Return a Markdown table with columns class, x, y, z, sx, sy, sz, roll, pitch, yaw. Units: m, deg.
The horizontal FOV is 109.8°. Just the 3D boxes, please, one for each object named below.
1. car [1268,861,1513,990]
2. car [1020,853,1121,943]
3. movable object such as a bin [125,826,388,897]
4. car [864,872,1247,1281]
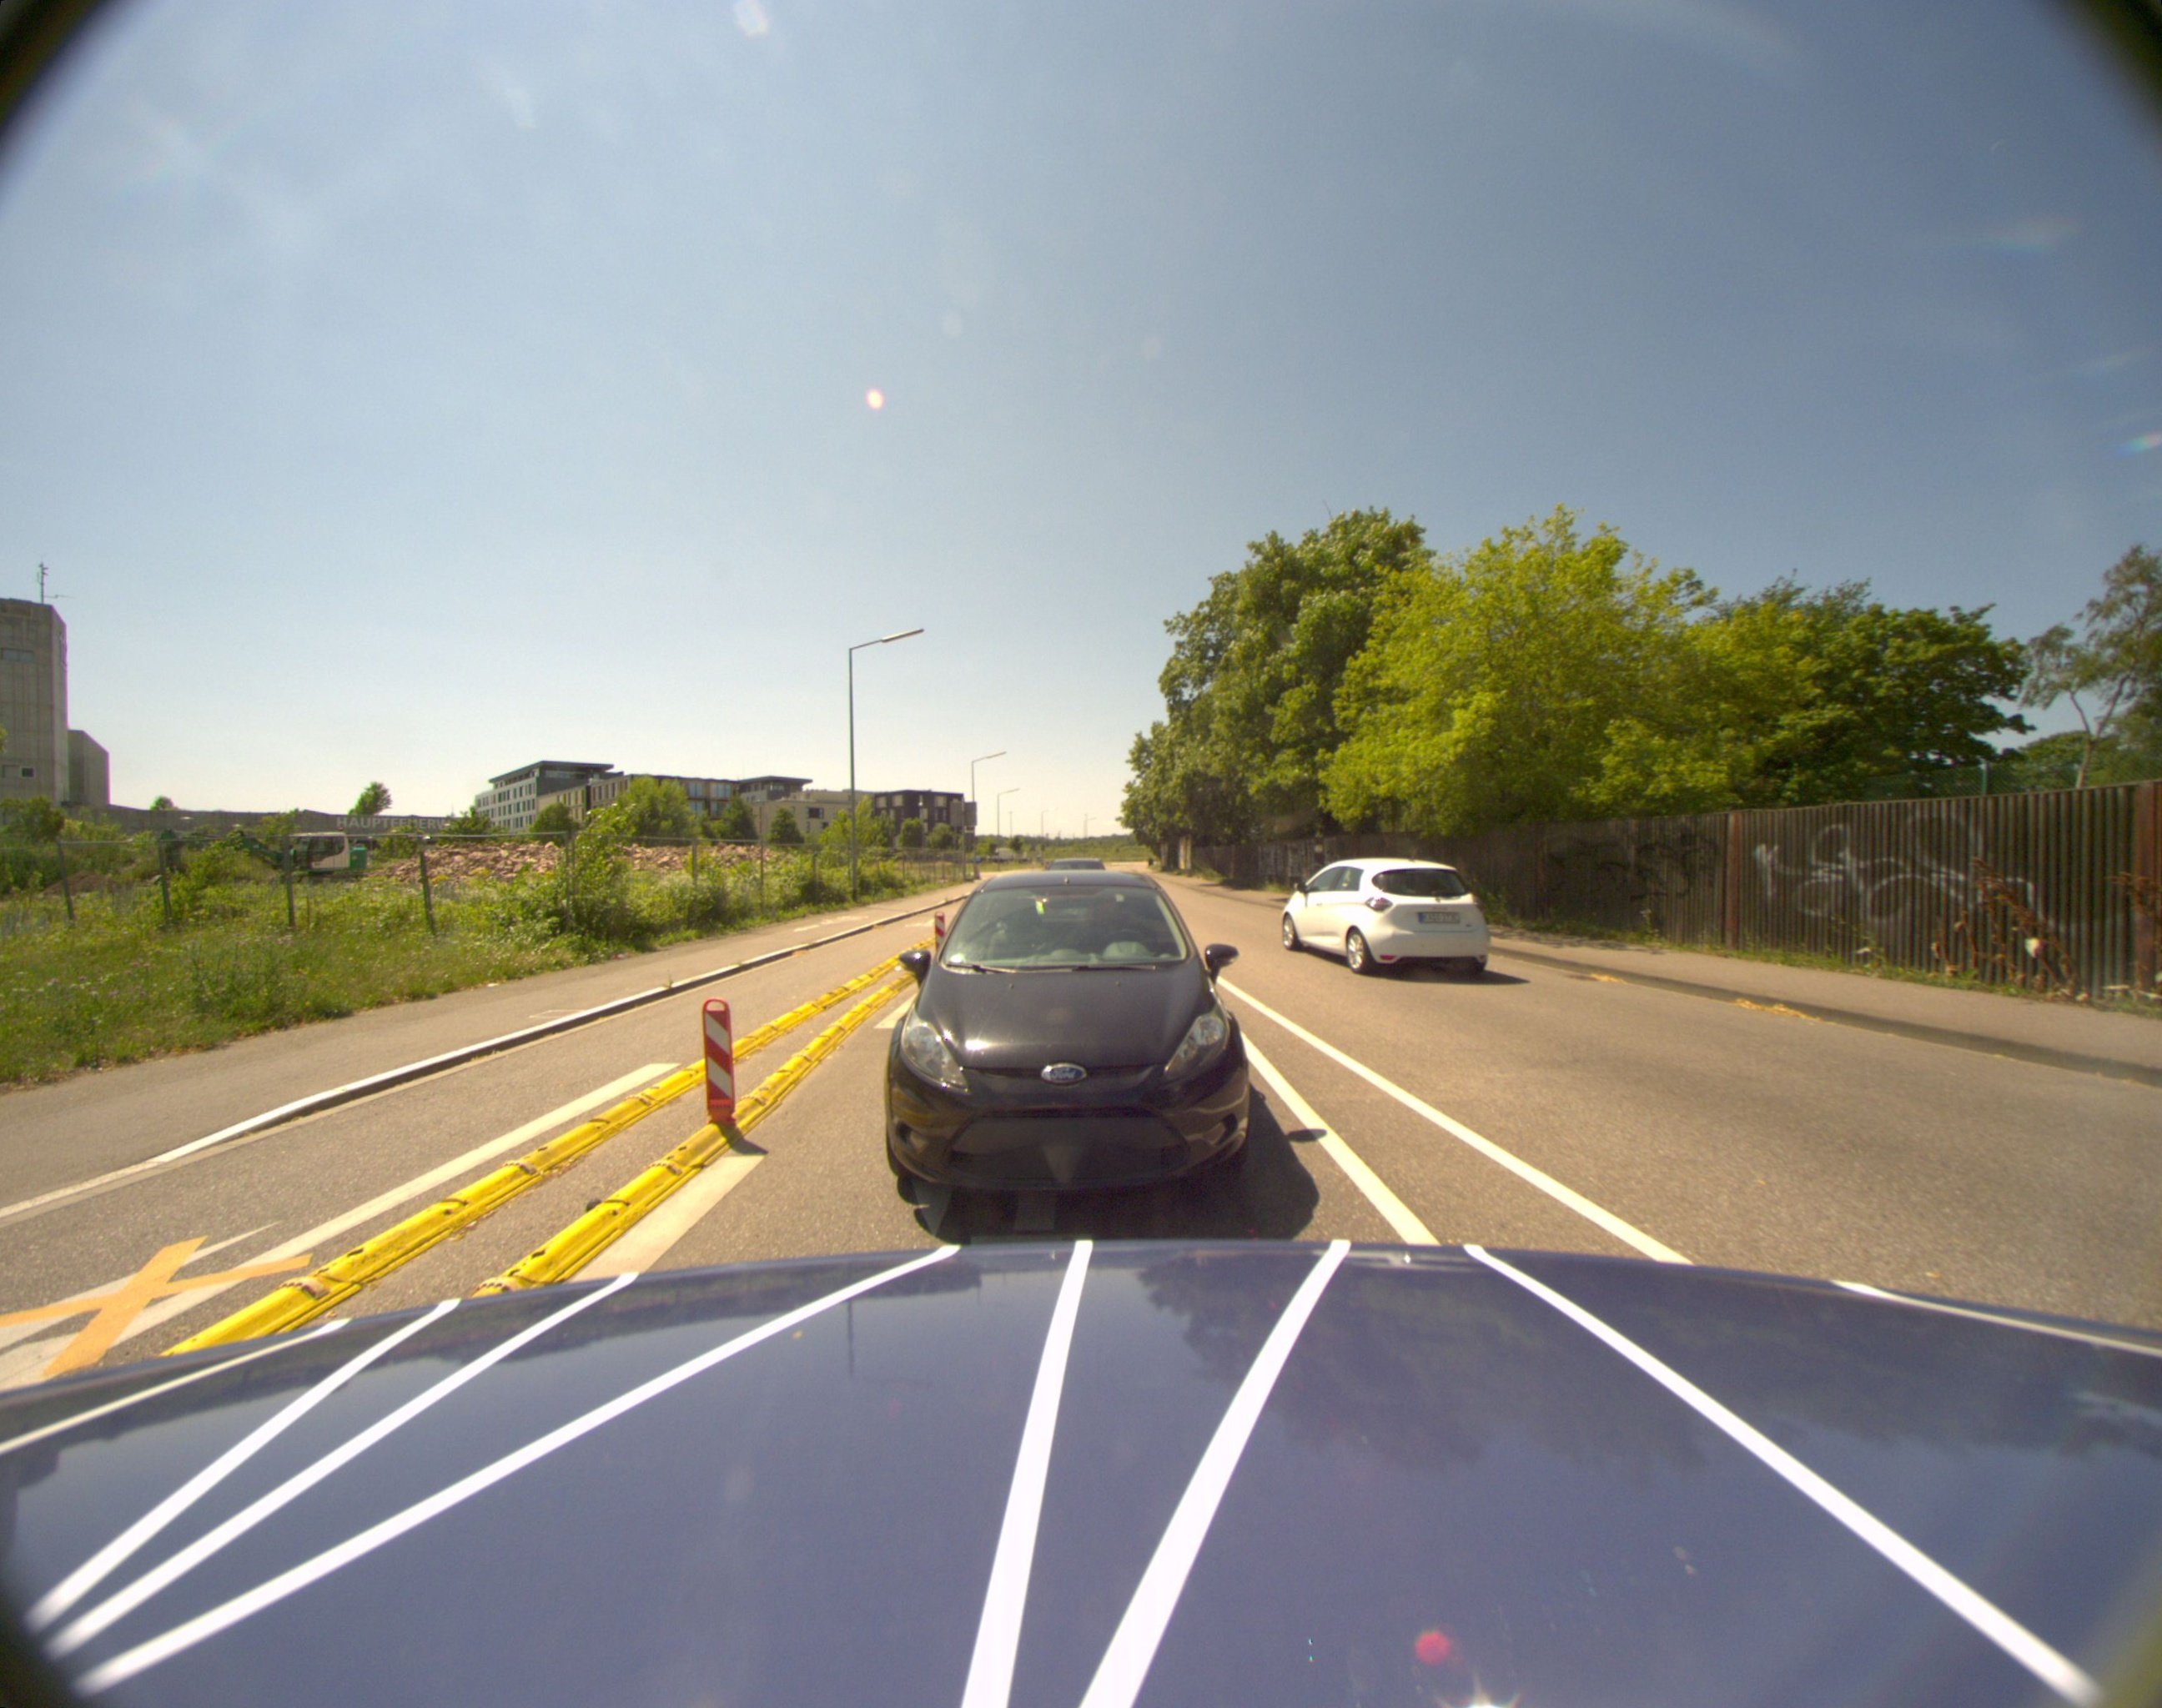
| class | x | y | z | sx | sy | sz | roll | pitch | yaw |
| --- | --- | --- | --- | --- | --- | --- | --- | --- | --- |
| car | 4.283 | 0.884 | 11.234 | 1.781 | 1.518 | 3.871 | -1 | 0 | -5 |
| car | -0.171 | 0.869 | 17.224 | 1.924 | 1.643 | 4.668 | -2 | 1 | 1 |
| movable object such as a bin | -38.371 | 0.257 | 35.894 | 3.231 | 2.899 | 7.702 | -2 | 1 | 15 |
| car | -0.078 | 0.974 | 5.144 | 1.528 | 1.510 | 3.999 | -2 | 1 | 1 |
